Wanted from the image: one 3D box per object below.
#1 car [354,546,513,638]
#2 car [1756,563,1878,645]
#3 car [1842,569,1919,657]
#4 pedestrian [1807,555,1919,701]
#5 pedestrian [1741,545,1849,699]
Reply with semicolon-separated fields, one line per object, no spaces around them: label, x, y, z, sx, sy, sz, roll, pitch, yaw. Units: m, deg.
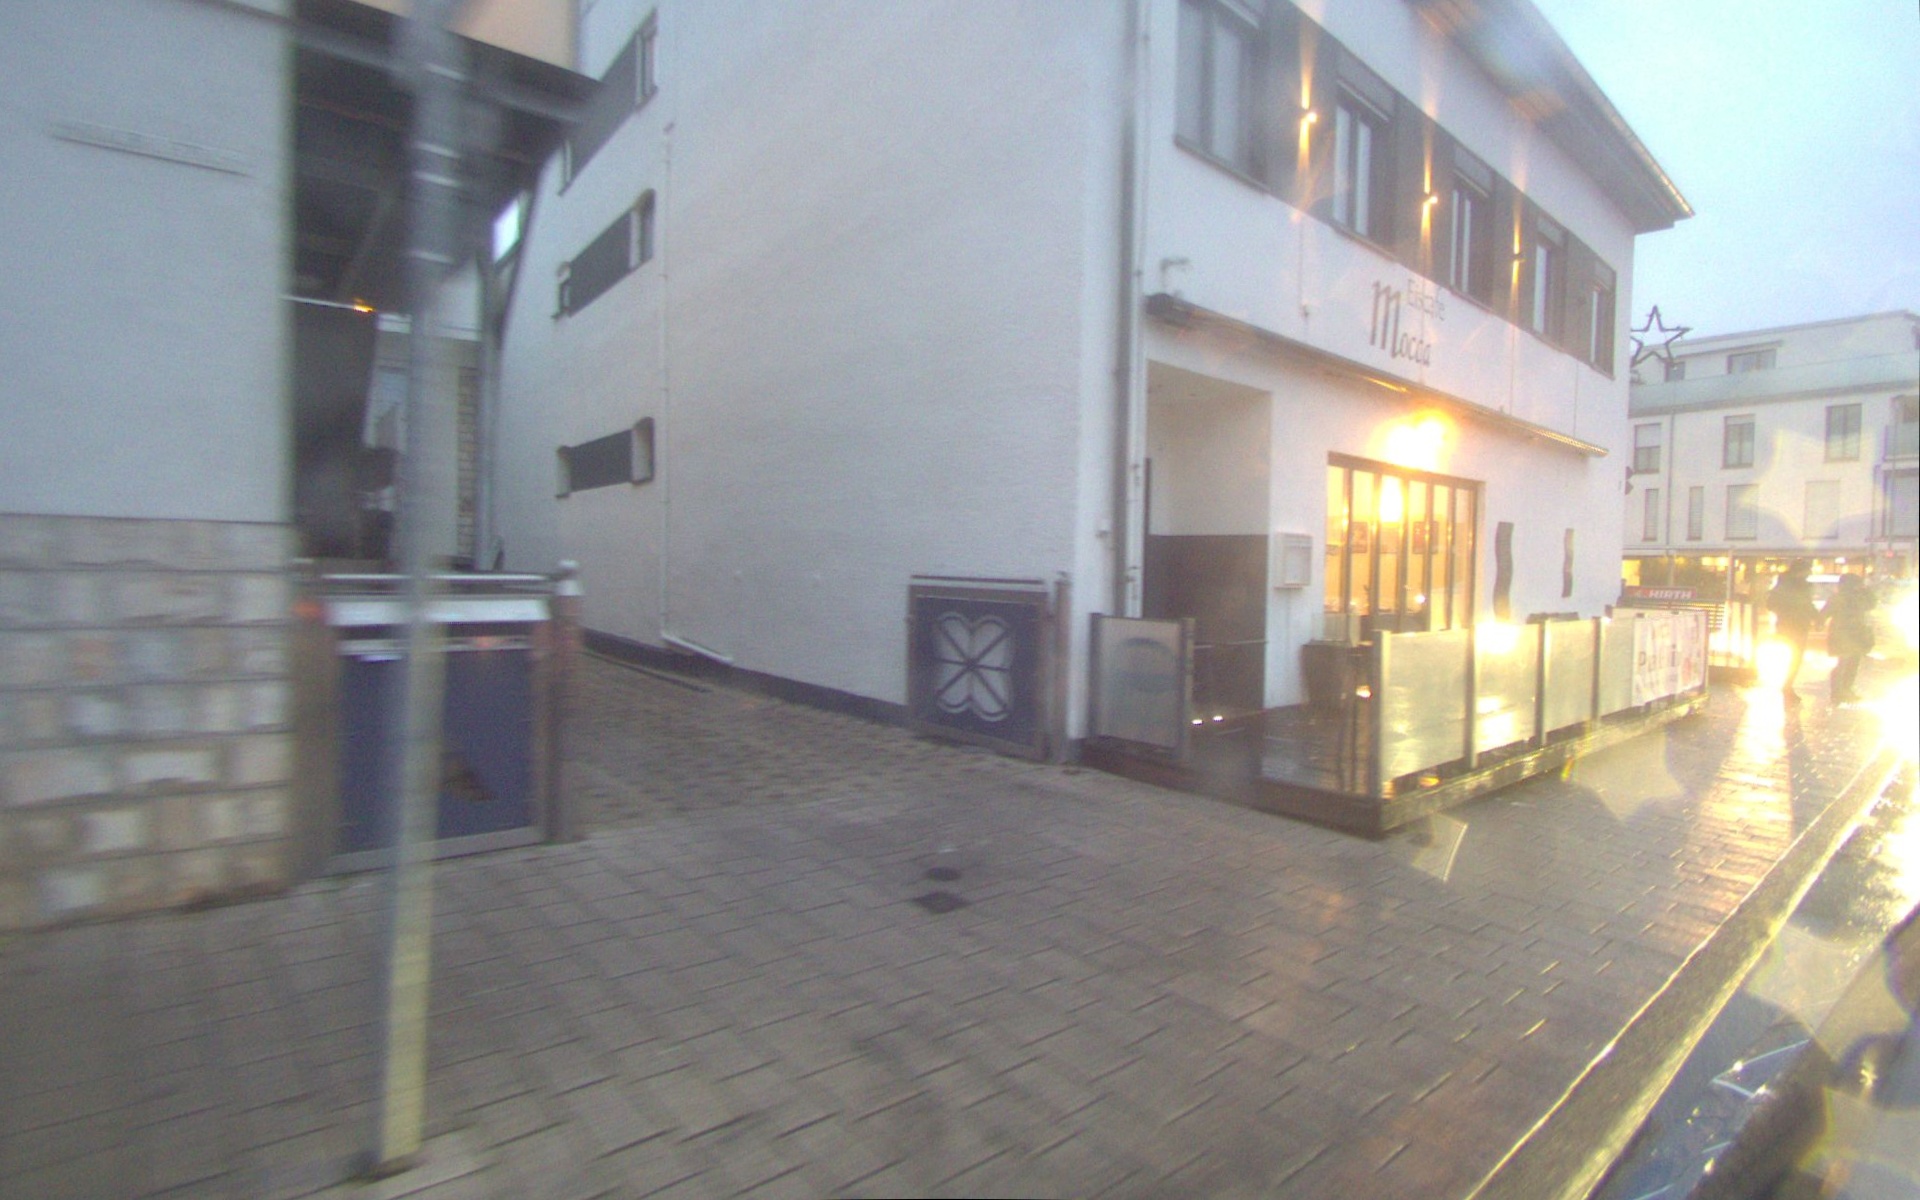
car;-9.863;-0.194;18.810;1.901;1.433;3.962;2;2;-38
car;21.052;0.044;24.799;3.934;1.767;1.822;-3;2;-43
car;18.516;0.205;18.766;2.007;1.497;4.522;-1;2;24
pedestrian;11.537;0.338;12.930;0.754;1.783;0.792;-2;1;3
pedestrian;10.623;0.263;12.901;0.696;1.889;0.792;-2;1;3
